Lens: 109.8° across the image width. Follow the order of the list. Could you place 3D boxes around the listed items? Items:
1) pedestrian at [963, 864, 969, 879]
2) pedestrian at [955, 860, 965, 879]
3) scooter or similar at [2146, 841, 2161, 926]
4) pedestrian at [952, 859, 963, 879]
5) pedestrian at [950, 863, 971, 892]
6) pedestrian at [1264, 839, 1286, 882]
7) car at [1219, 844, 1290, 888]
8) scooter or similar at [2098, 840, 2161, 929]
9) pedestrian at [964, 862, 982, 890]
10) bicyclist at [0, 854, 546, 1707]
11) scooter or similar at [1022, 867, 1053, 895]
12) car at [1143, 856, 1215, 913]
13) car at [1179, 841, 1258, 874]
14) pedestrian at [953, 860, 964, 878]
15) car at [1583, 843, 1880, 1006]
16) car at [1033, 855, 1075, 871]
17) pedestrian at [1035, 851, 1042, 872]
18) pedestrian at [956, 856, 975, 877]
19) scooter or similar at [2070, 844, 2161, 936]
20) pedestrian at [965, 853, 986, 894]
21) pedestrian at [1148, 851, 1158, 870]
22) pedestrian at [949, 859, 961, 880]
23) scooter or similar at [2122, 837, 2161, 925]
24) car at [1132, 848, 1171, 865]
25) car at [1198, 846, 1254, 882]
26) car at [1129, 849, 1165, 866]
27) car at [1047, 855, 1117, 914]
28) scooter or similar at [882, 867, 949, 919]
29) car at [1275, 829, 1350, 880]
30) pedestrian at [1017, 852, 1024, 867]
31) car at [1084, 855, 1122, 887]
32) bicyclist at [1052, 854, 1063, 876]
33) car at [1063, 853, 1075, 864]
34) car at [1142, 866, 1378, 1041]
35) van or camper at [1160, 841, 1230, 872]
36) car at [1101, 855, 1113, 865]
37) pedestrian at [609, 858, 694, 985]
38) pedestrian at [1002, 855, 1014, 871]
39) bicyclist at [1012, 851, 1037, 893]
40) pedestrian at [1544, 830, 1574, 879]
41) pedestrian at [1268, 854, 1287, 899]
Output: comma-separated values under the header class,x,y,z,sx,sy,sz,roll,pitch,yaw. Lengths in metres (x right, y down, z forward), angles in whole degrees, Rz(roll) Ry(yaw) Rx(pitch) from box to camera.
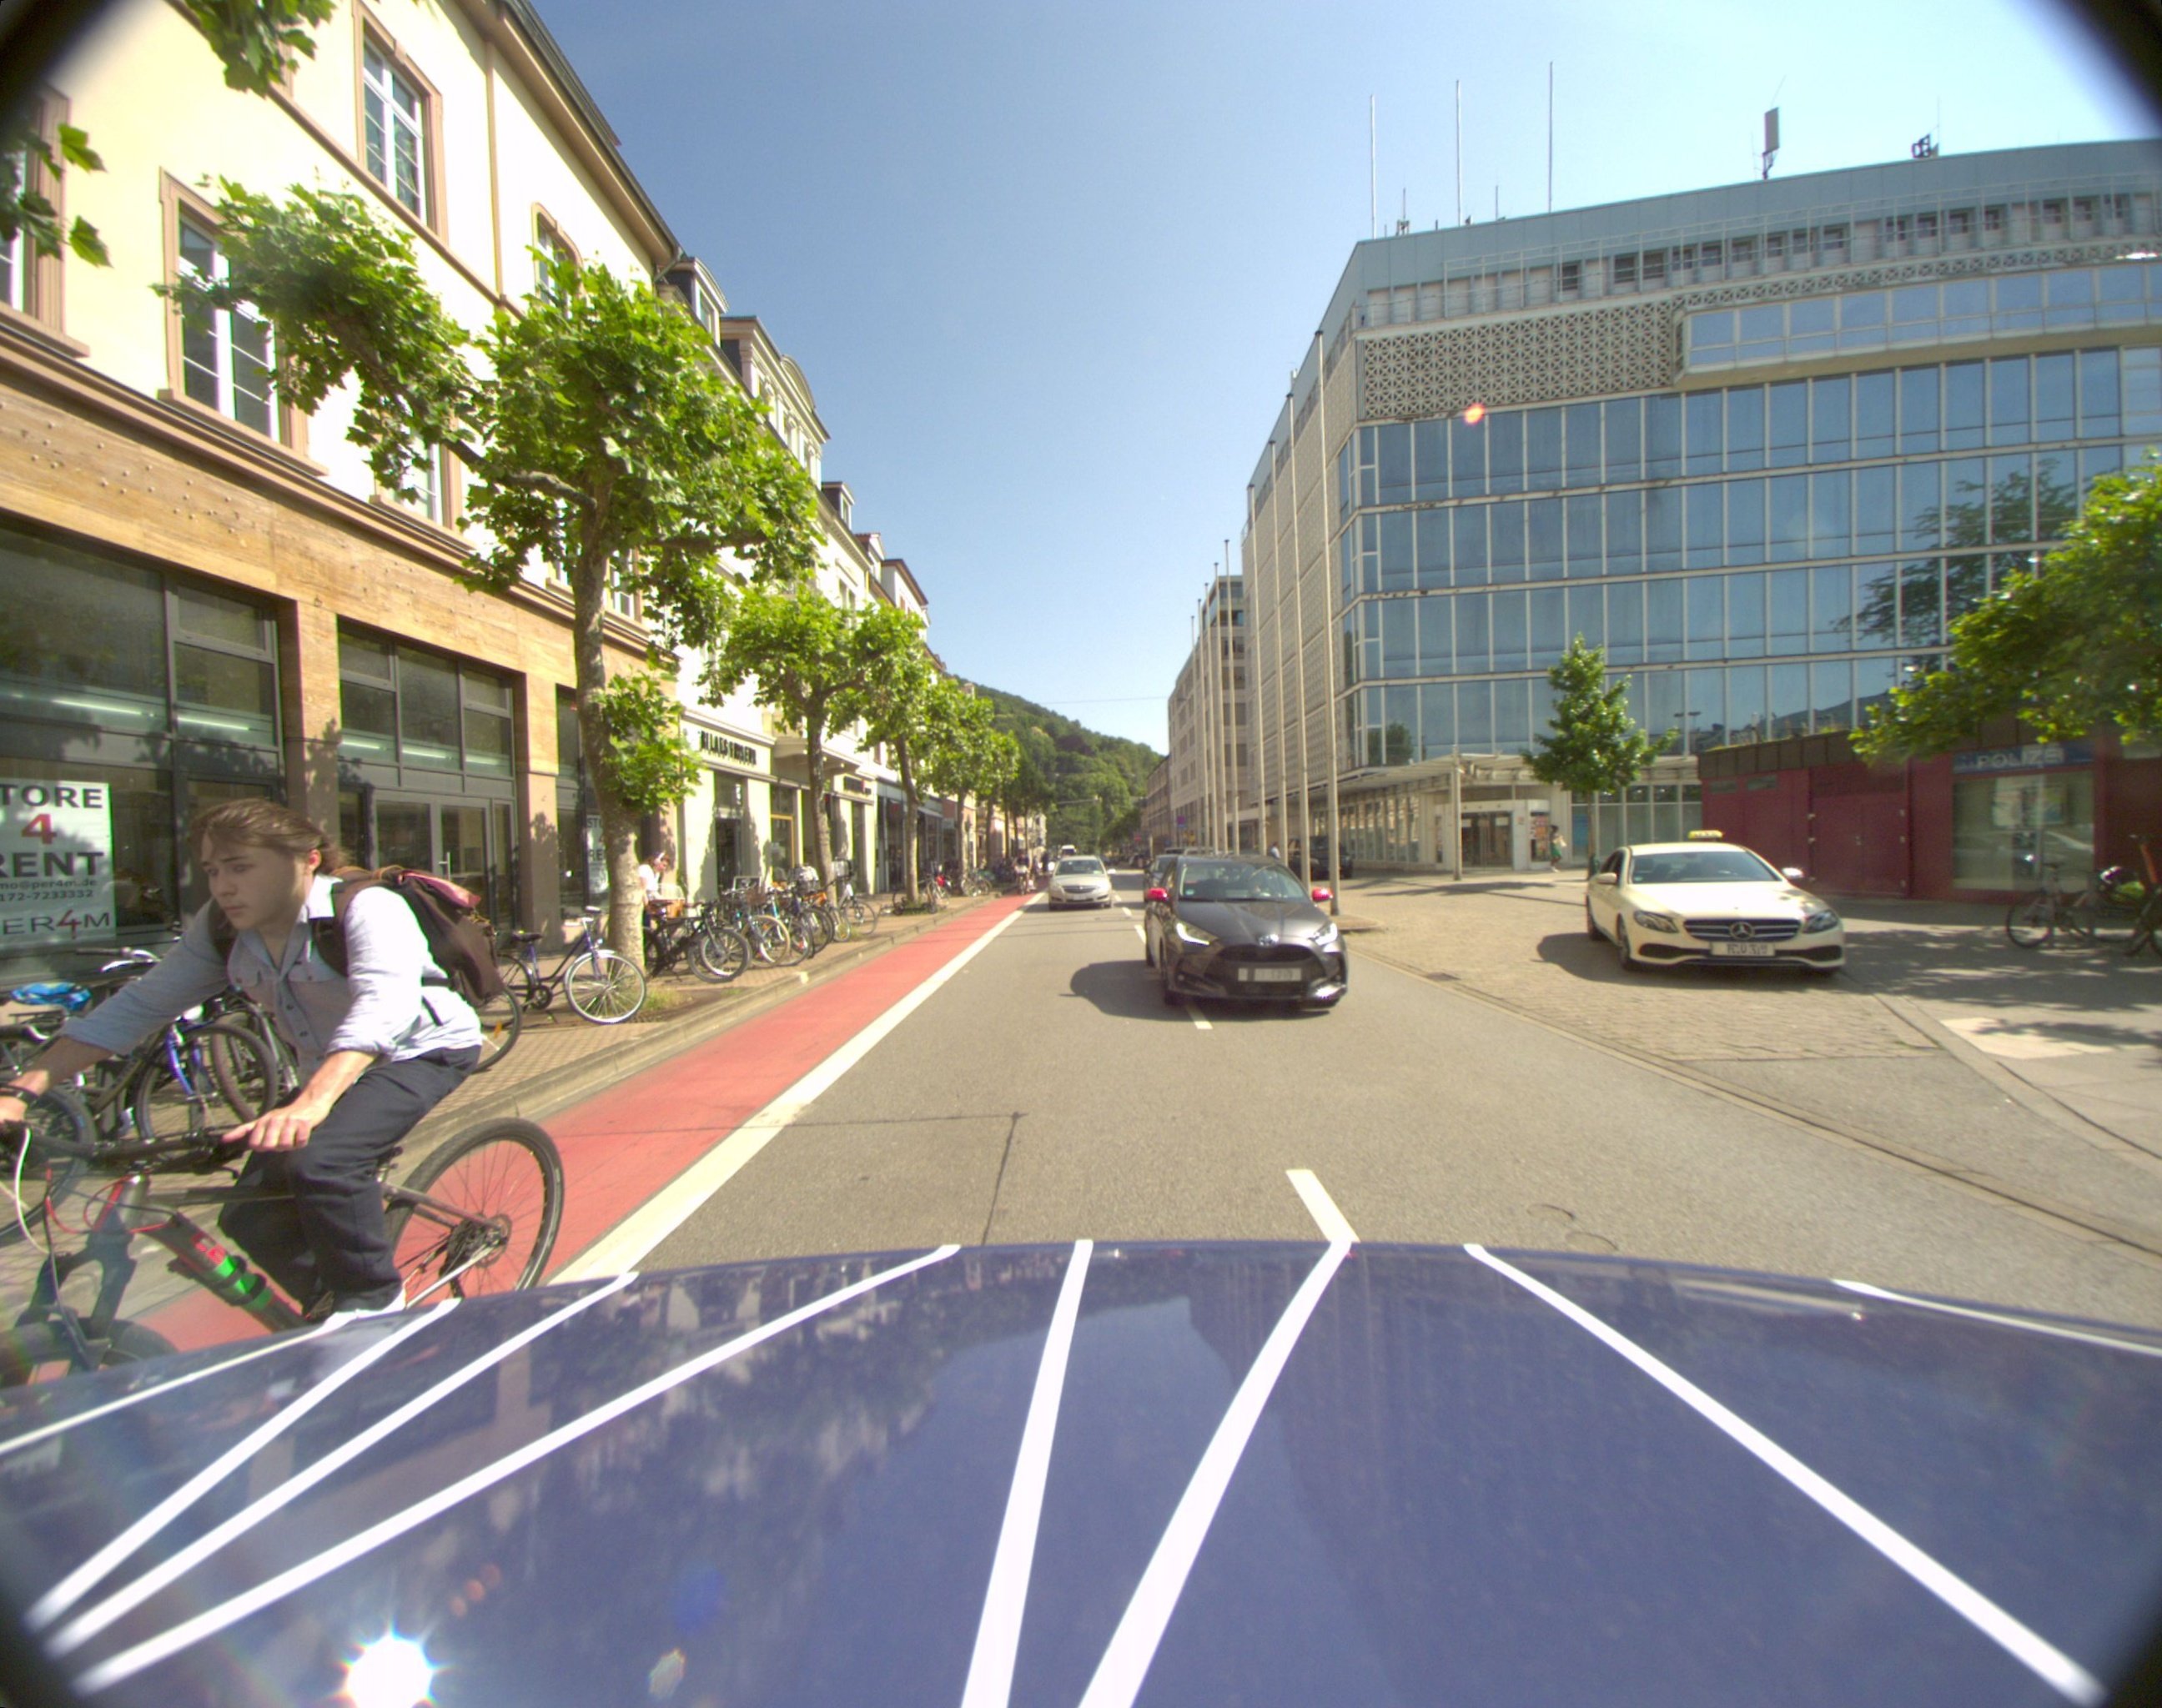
class,x,y,z,sx,sy,sz,roll,pitch,yaw
pedestrian,-7.831,1.179,51.686,0.342,0.962,0.437,-2,1,2
pedestrian,-8.364,1.054,52.476,0.641,1.246,0.608,0,2,-2
scooter or similar,15.304,0.428,10.344,0.233,1.207,1.305,-2,1,20
pedestrian,-8.337,1.013,51.333,0.683,1.330,0.532,-1,1,-2
pedestrian,-5.325,1.033,33.555,0.789,1.236,0.576,-3,2,-2
pedestrian,8.099,0.270,31.732,0.618,1.782,0.694,-1,1,40
car,6.902,0.451,30.729,1.765,1.591,4.709,-2,0,0
scooter or similar,14.864,0.411,10.537,0.233,1.207,1.305,-2,1,20
pedestrian,-4.856,0.987,34.210,0.641,1.226,0.596,-3,2,-2
bicyclist,-1.960,0.740,1.750,0.700,1.437,0.960,-3,1,-3
scooter or similar,-1.807,1.128,31.624,0.784,1.054,1.127,-3,1,28
car,2.716,0.801,21.839,1.733,1.389,4.107,-1,1,3
car,8.652,0.220,48.006,4.434,1.898,2.013,-2,0,37
pedestrian,-8.358,1.037,51.878,0.683,1.246,0.532,0,0,-2
car,7.918,0.679,9.837,1.892,1.533,4.870,-2,0,28
car,-2.767,0.915,78.805,1.954,1.416,4.894,-3,0,30
pedestrian,-3.692,0.631,65.982,0.453,1.784,0.608,-3,0,-2
pedestrian,-8.449,0.917,55.517,1.255,1.475,0.837,-2,1,-2
scooter or similar,14.659,0.466,10.690,0.233,1.207,1.305,-2,1,20
pedestrian,-4.429,0.802,31.927,0.641,1.679,0.843,-4,0,-2
pedestrian,5.917,0.514,62.449,0.641,1.550,0.680,-3,0,-11
pedestrian,-8.424,1.026,50.737,0.683,1.325,0.532,-2,1,-2
scooter or similar,15.073,0.381,10.425,0.233,1.207,1.305,-2,1,20
car,8.312,0.294,89.463,4.025,1.593,1.961,-4,1,23
car,6.867,0.454,36.528,1.803,1.514,4.739,-3,0,1
car,8.108,0.388,92.875,4.165,1.627,2.103,-5,0,9
car,-0.048,0.802,22.019,1.791,1.484,4.367,-2,0,-2
scooter or similar,-4.302,1.010,19.759,1.477,1.267,0.670,-3,1,12
car,9.945,0.032,33.012,1.836,2.002,4.685,-2,0,1
pedestrian,-7.609,0.702,95.850,0.840,1.781,0.767,-1,1,1
car,1.064,0.841,38.857,1.775,1.469,4.106,-2,0,0
bicyclist,-1.835,0.878,59.834,0.840,1.707,0.844,-1,1,1
car,-1.994,0.758,128.235,1.799,1.516,4.262,-5,1,-2
car,1.707,0.890,8.615,1.868,1.469,4.108,1,-1,3
van or camper,8.419,0.187,56.165,4.648,2.002,2.004,-4,0,40
car,4.090,0.959,119.496,1.734,1.389,4.106,-2,0,1
pedestrian,-5.693,0.870,10.103,0.616,1.603,0.745,-2,1,2
pedestrian,-7.510,0.910,78.486,0.904,1.603,0.974,-2,4,-28
bicyclist,-2.225,0.705,30.186,0.731,1.664,0.775,0,1,18
pedestrian,16.930,0.018,26.939,0.684,1.705,0.723,-1,1,10
pedestrian,7.978,0.912,30.879,0.531,1.782,0.540,-1,1,40
